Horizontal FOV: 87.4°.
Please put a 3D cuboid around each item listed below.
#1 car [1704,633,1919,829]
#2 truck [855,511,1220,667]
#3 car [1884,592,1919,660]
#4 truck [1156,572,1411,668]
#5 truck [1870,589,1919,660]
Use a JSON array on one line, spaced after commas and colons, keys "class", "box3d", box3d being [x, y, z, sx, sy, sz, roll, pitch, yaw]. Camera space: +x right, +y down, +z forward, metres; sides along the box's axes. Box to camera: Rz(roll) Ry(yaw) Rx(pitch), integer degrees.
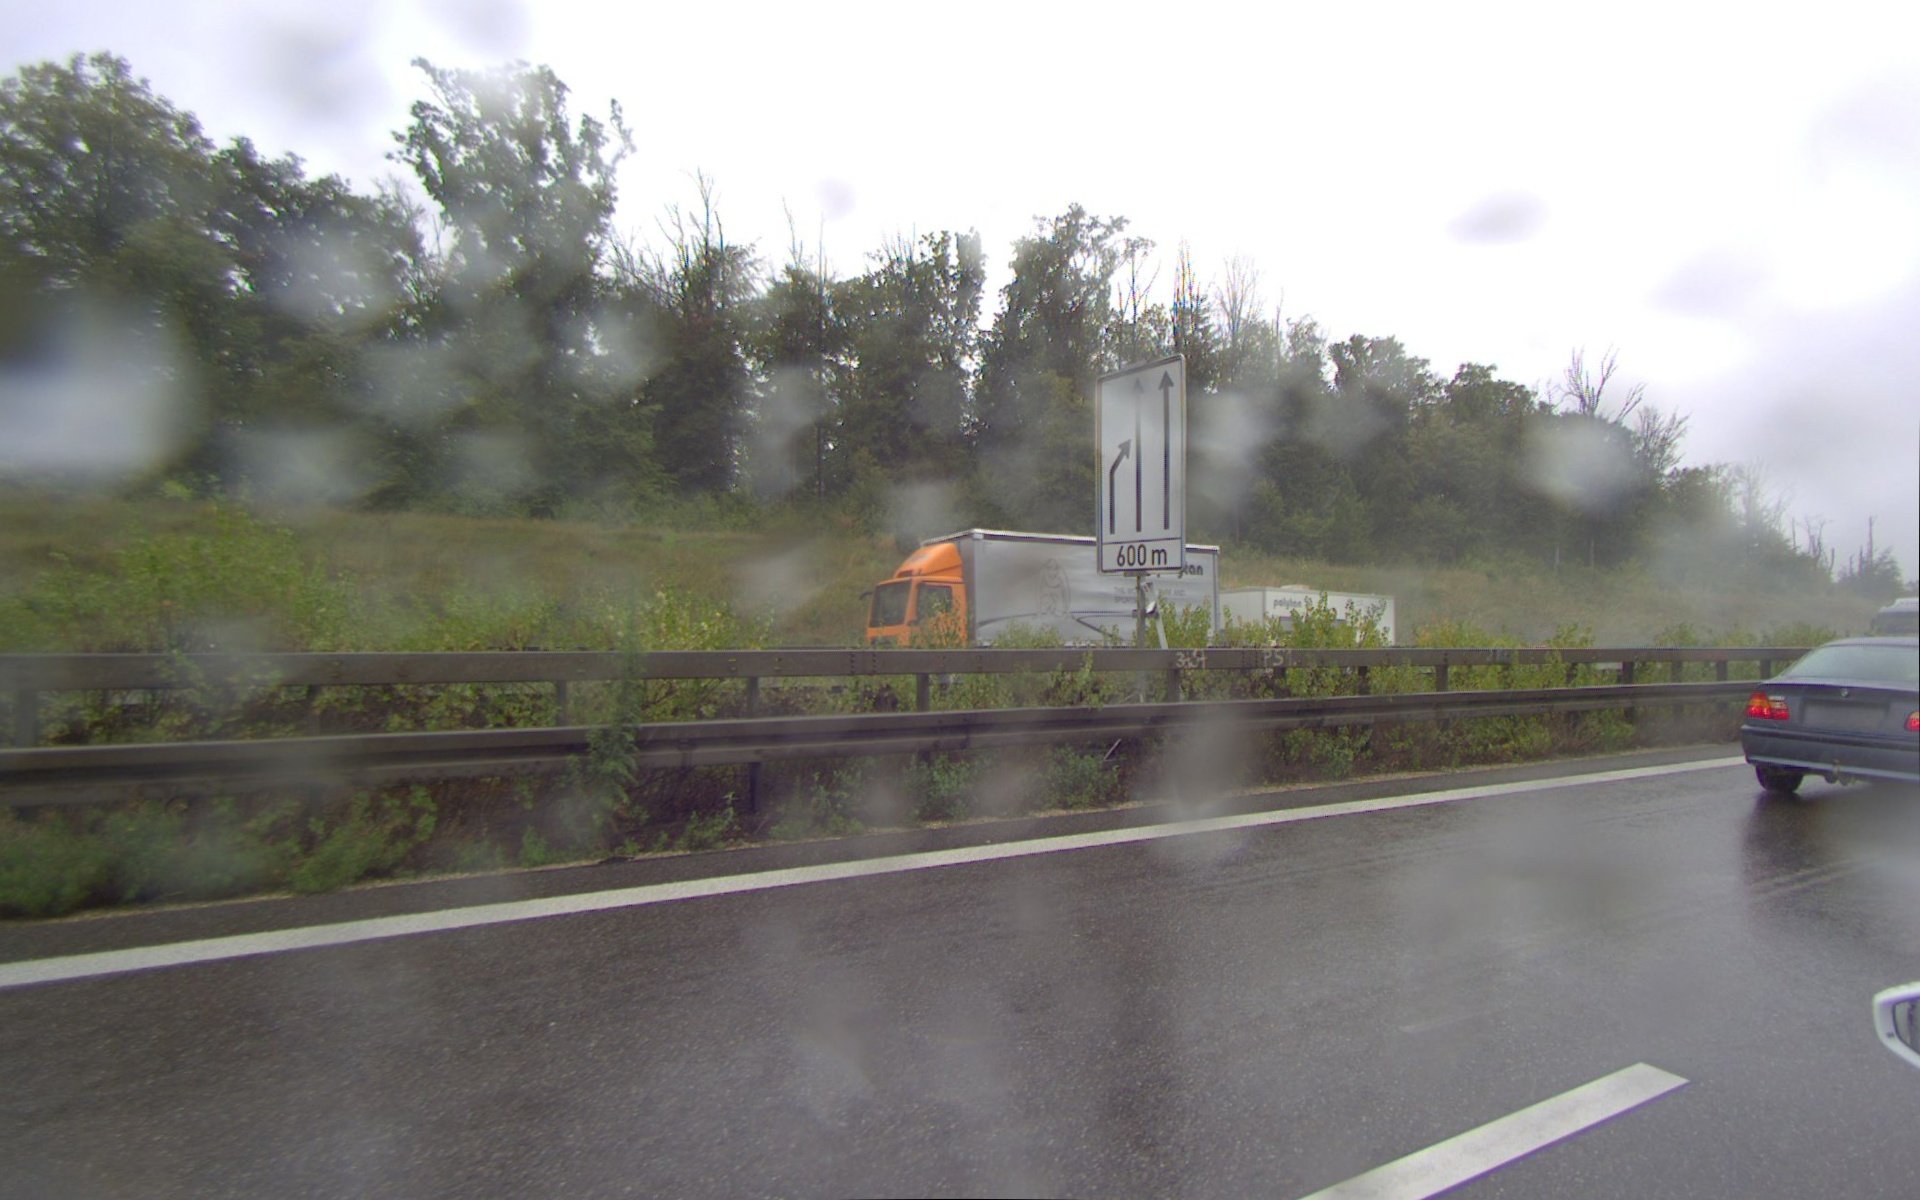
[{"class": "car", "box3d": [8.690, 1.038, 8.988, 4.178, 1.418, 1.710, 1, -1, -29]}, {"class": "truck", "box3d": [2.145, -0.189, 25.090, 9.150, 3.325, 2.910, 1, 0, -32]}, {"class": "car", "box3d": [56.060, 1.547, 56.762, 10.847, 3.659, 2.672, 2, 0, -31]}, {"class": "truck", "box3d": [9.569, 0.615, 29.378, 7.804, 2.513, 2.637, 2, 0, -32]}, {"class": "truck", "box3d": [51.466, 1.326, 53.882, 4.552, 3.659, 2.673, 2, 0, -31]}]
